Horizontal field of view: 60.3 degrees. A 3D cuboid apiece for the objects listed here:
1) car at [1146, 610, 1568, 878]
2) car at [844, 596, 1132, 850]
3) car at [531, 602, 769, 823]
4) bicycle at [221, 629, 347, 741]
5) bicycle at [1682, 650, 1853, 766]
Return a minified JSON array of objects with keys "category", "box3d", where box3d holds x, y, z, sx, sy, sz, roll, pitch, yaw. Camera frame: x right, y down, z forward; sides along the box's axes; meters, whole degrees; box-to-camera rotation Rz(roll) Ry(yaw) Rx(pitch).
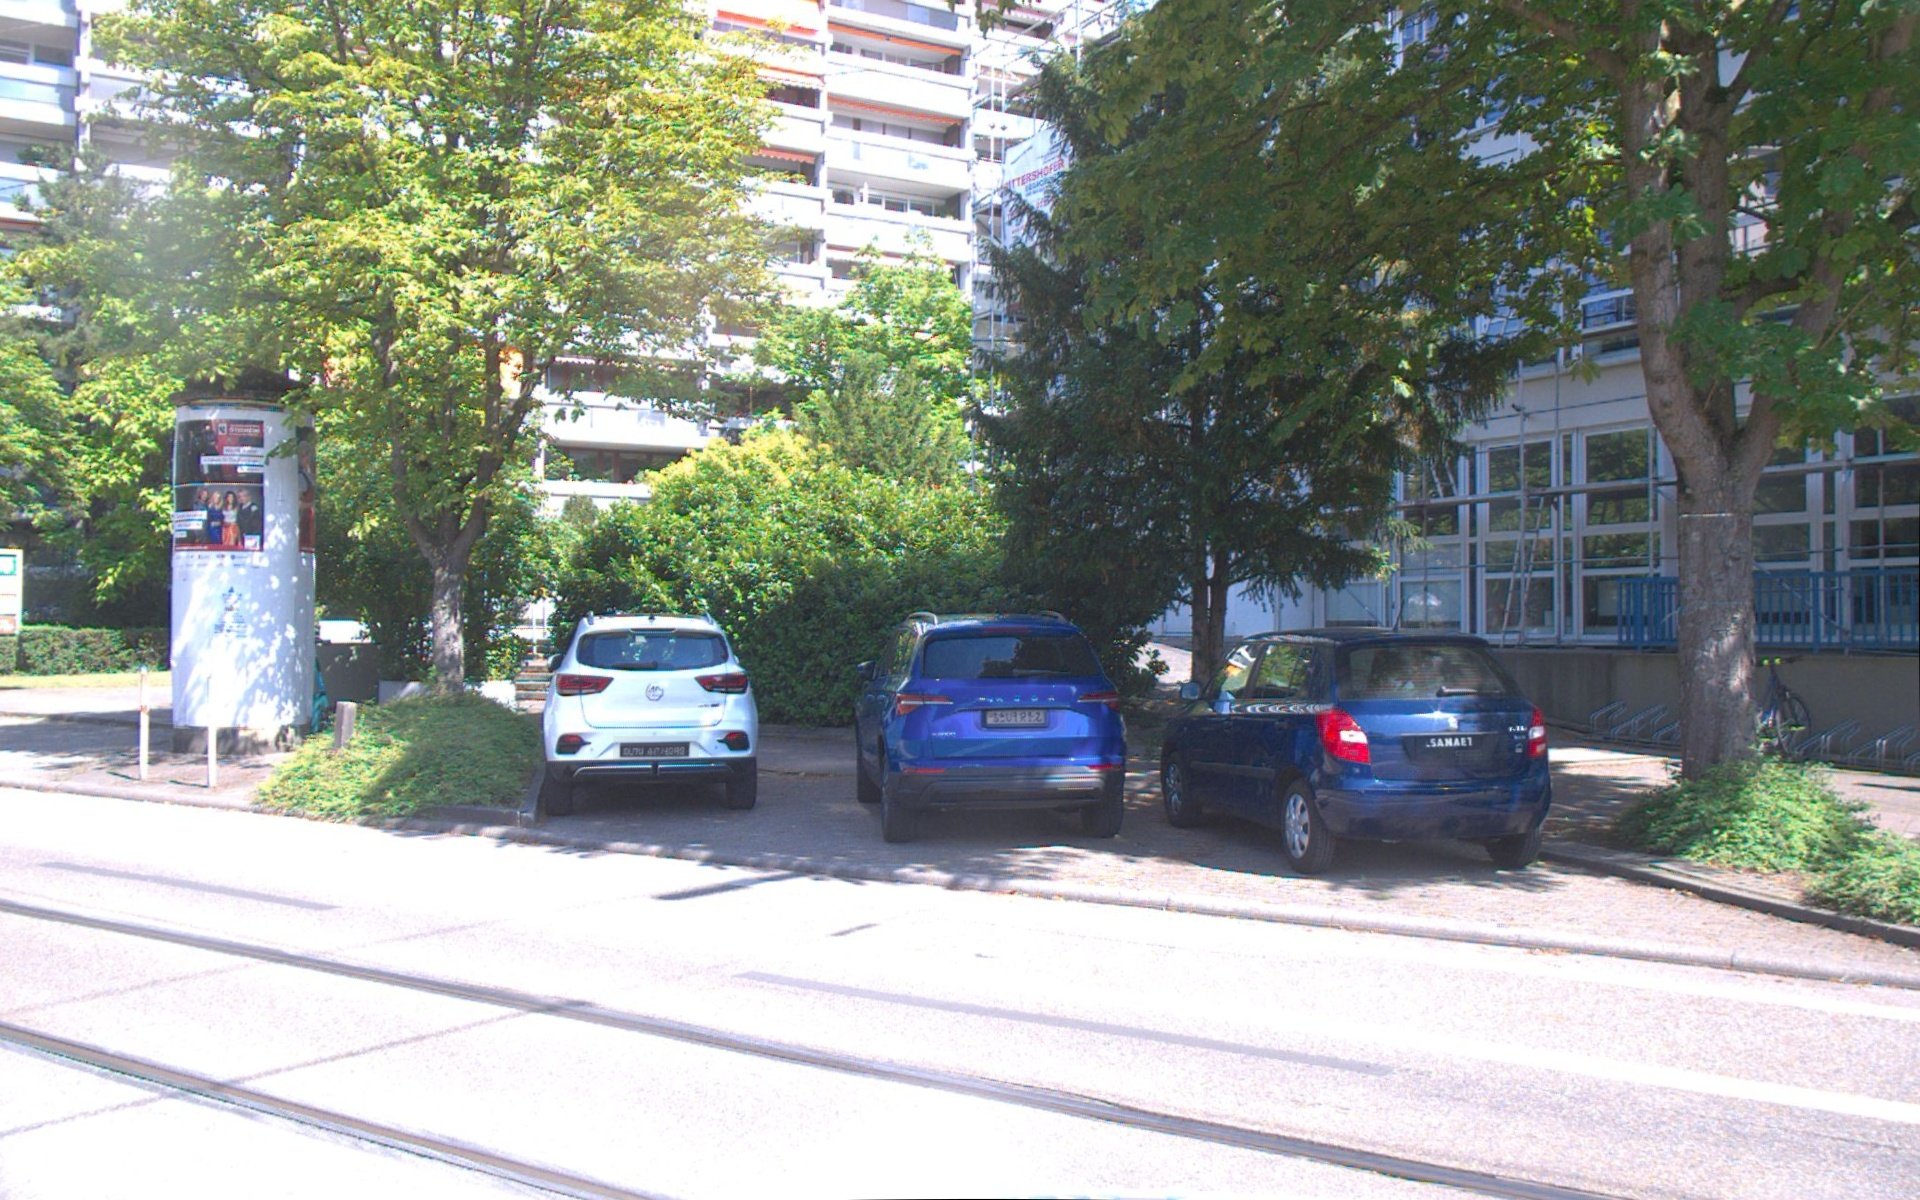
[{"category":"car","box3d":[2.564,0.866,11.491,1.543,1.558,3.448,0,-1,-12]},{"category":"car","box3d":[0.065,0.823,13.188,1.741,1.651,3.939,-1,1,-7]},{"category":"car","box3d":[-2.866,0.896,14.883,1.783,1.634,3.931,-2,0,-13]},{"category":"bicycle","box3d":[-8.324,1.030,20.359,1.585,1.331,0.546,-1,-2,28]},{"category":"bicycle","box3d":[8.381,1.084,17.122,2.181,1.105,0.733,1,-1,-39]}]
